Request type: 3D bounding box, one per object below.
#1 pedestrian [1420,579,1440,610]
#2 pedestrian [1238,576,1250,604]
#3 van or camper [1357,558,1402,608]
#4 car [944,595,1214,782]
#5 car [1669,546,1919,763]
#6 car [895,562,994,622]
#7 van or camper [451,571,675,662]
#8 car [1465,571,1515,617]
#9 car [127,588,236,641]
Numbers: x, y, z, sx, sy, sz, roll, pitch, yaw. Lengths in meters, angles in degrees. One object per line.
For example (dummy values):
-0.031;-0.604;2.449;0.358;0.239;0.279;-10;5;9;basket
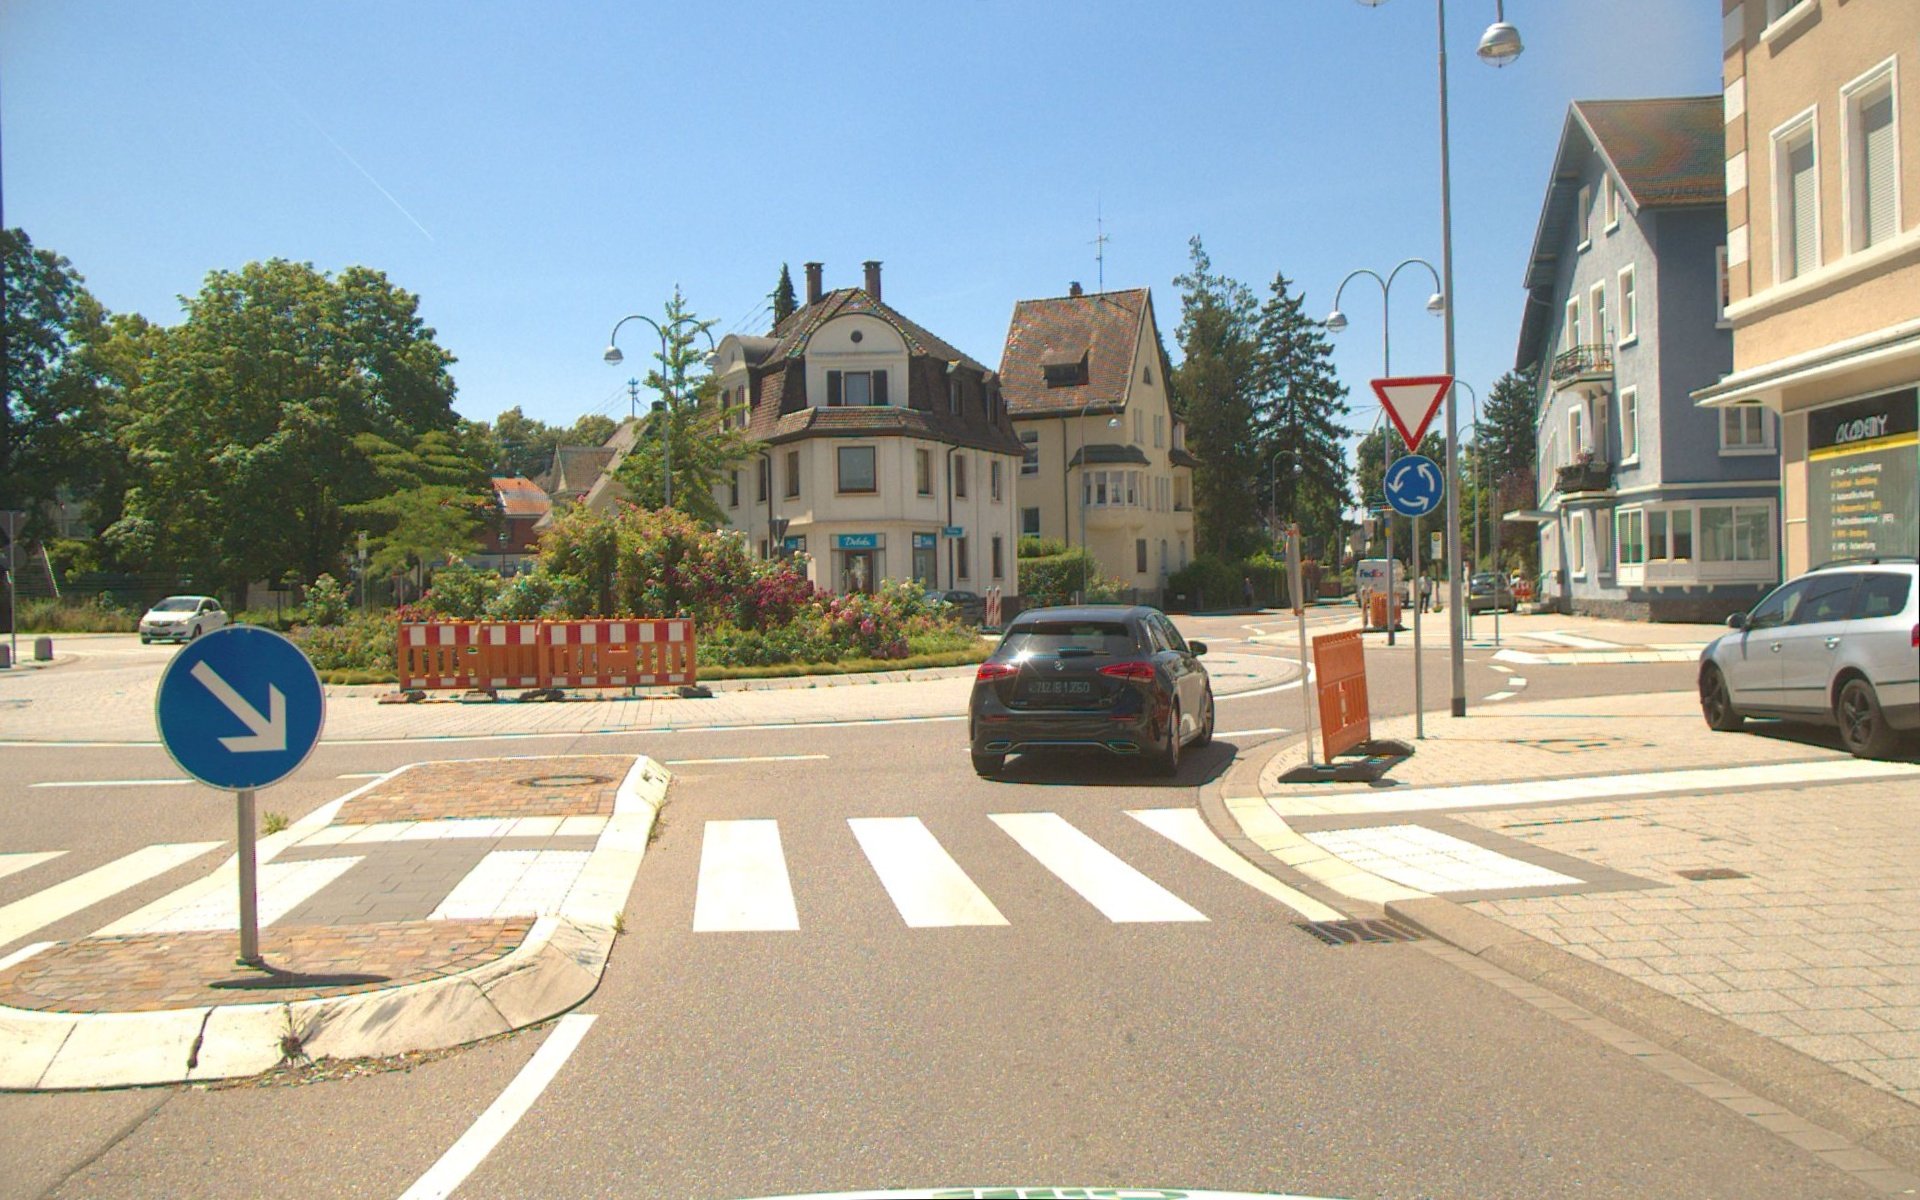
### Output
20.814;-0.248;73.207;0.653;1.308;0.586;-5;-1;27;pedestrian
15.833;-0.537;92.100;0.512;1.535;0.473;-1;0;25;pedestrian
22.975;-0.909;90.507;2.159;2.656;4.002;-1;0;17;van or camper
1.246;0.703;15.301;1.911;1.452;4.004;0;1;13;car
7.811;0.368;13.964;1.727;1.557;4.691;-2;0;2;car
-0.446;-0.252;52.090;1.880;1.803;4.001;1;0;19;car
-10.249;0.392;42.964;5.365;2.209;1.970;0;1;-41;van or camper
19.962;-0.254;62.236;1.606;1.533;3.565;-4;0;19;car
-24.940;0.499;53.099;1.749;1.625;3.918;0;-1;-2;car
